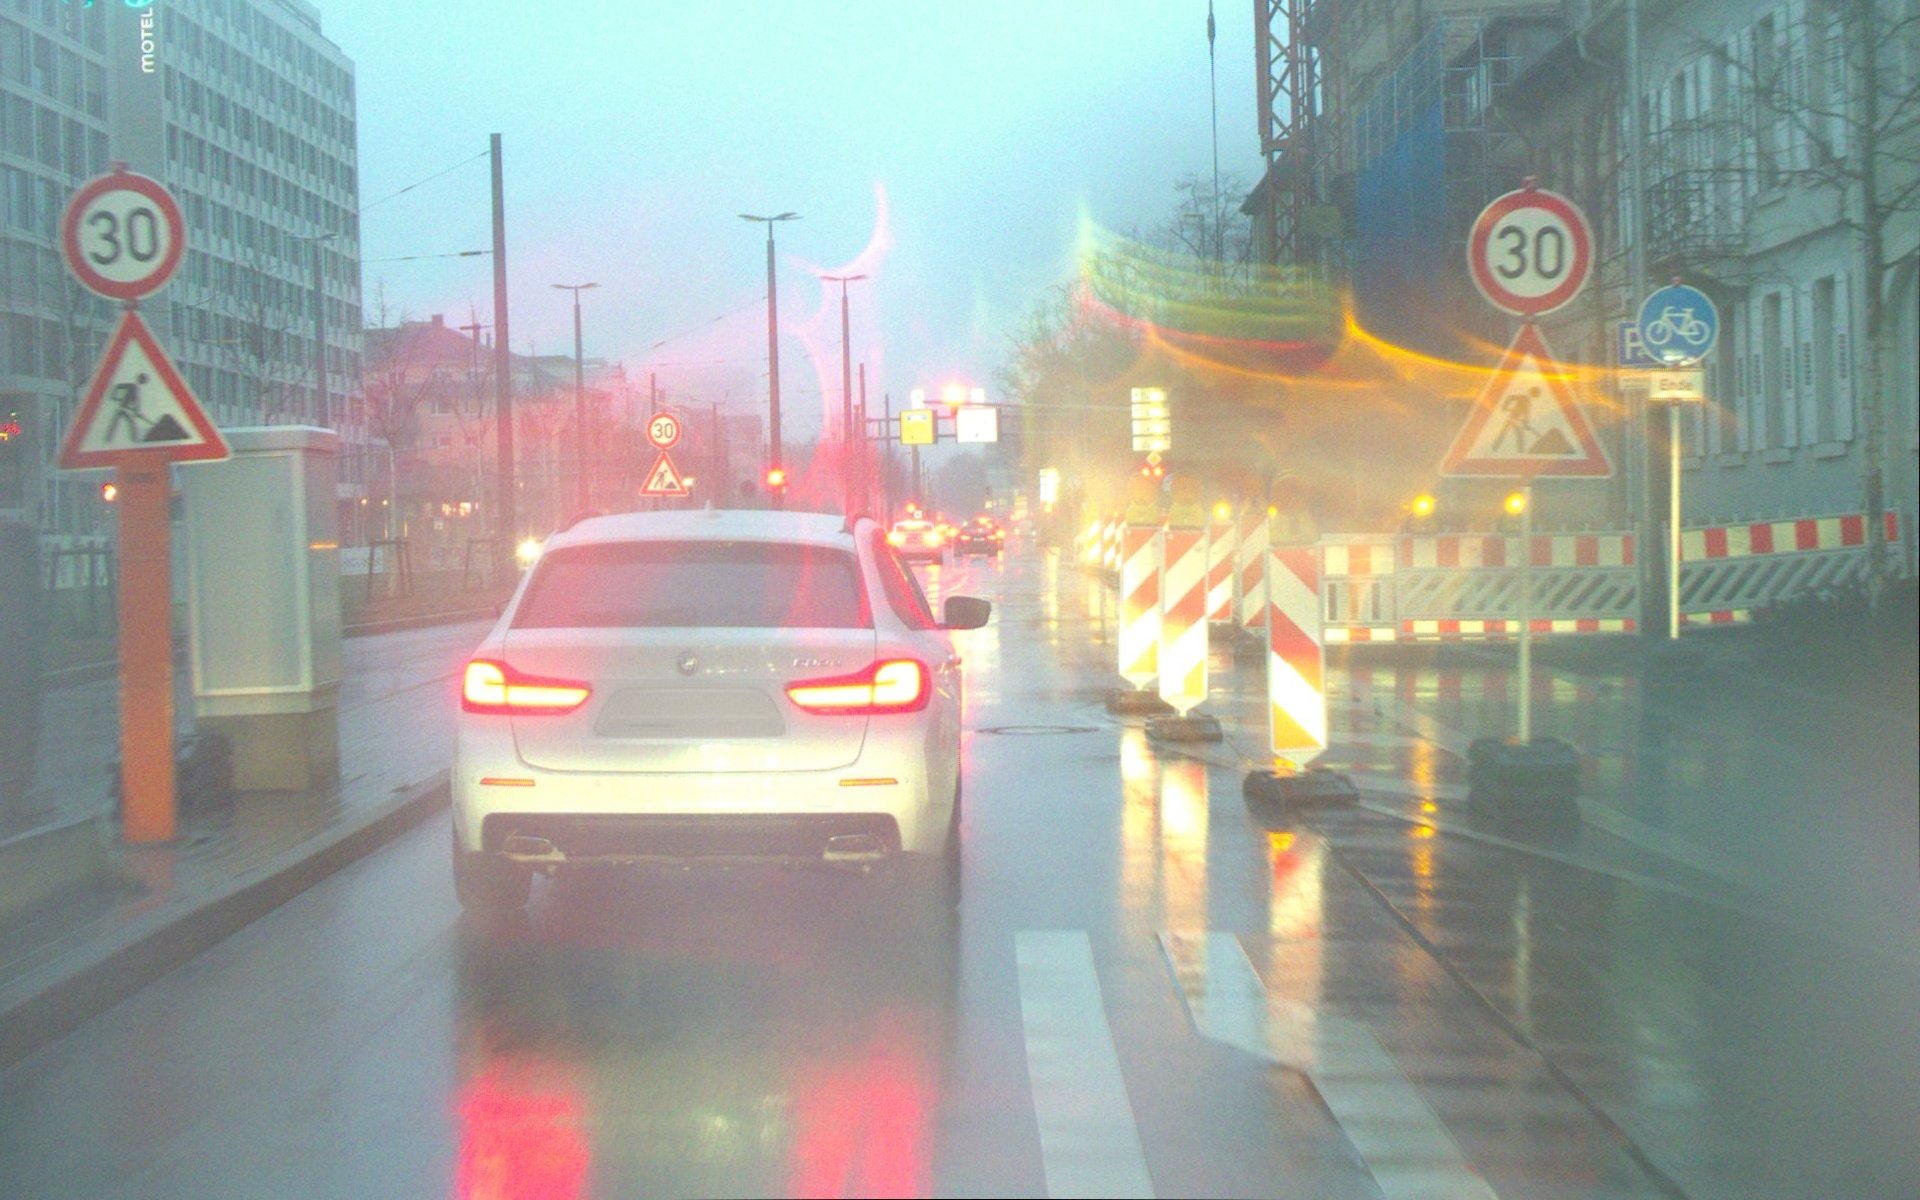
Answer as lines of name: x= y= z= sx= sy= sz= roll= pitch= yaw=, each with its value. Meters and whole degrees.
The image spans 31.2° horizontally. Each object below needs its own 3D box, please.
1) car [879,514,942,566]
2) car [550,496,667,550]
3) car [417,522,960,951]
car: x=-1.581 y=-1.941 z=110.394 sx=1.901 sy=1.636 sz=4.000 roll=0 pitch=1 yaw=1
car: x=-13.060 y=-2.852 z=127.575 sx=3.986 sy=1.968 sz=2.001 roll=-1 pitch=1 yaw=-18
car: x=-0.936 y=0.414 z=14.282 sx=1.852 sy=1.460 sz=4.947 roll=0 pitch=1 yaw=0
